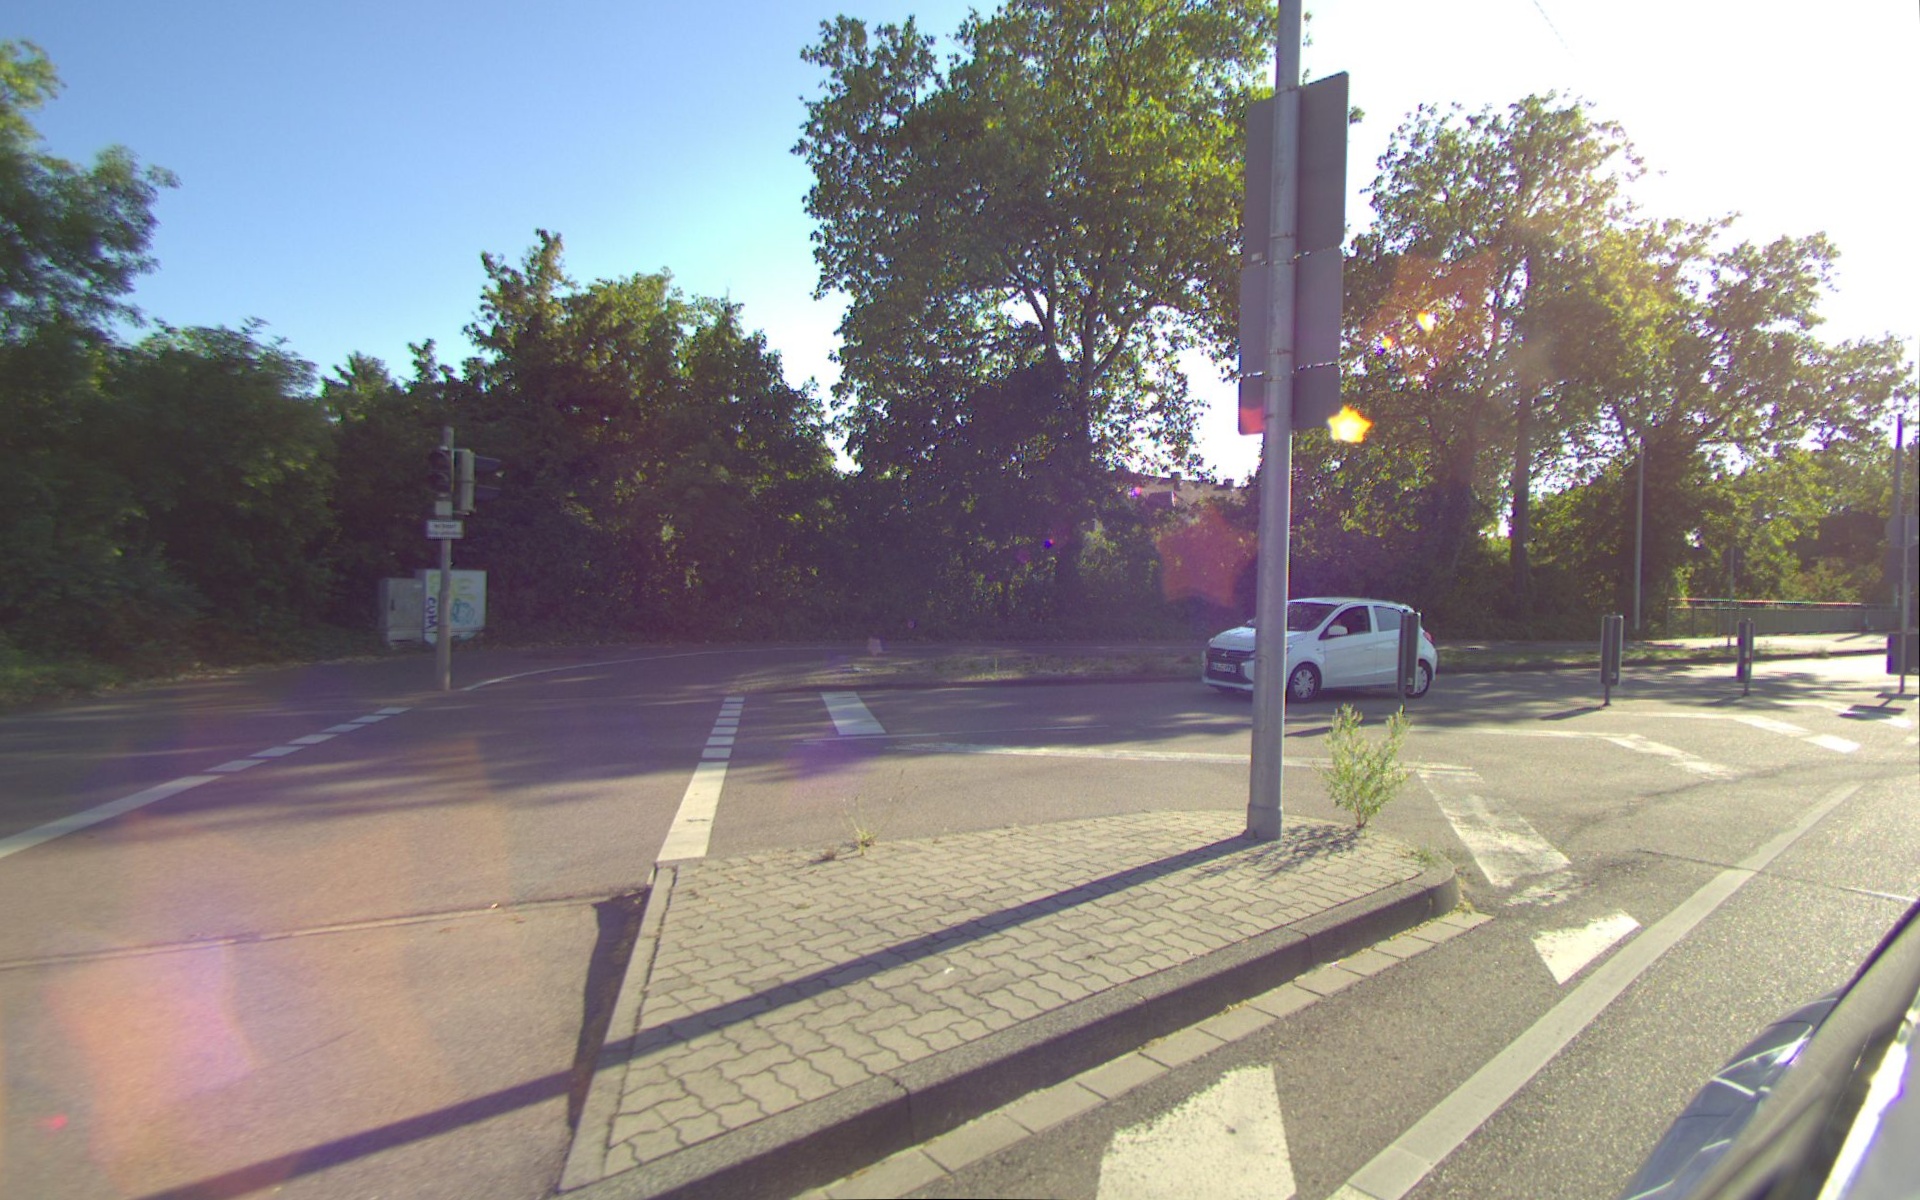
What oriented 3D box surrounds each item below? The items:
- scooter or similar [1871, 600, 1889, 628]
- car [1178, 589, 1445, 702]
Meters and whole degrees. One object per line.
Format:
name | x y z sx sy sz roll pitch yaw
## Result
scooter or similar | 42.575 0.657 46.822 1.063 1.291 0.427 1 1 -39
car | 5.242 0.622 15.068 3.668 1.492 1.675 1 1 -28
